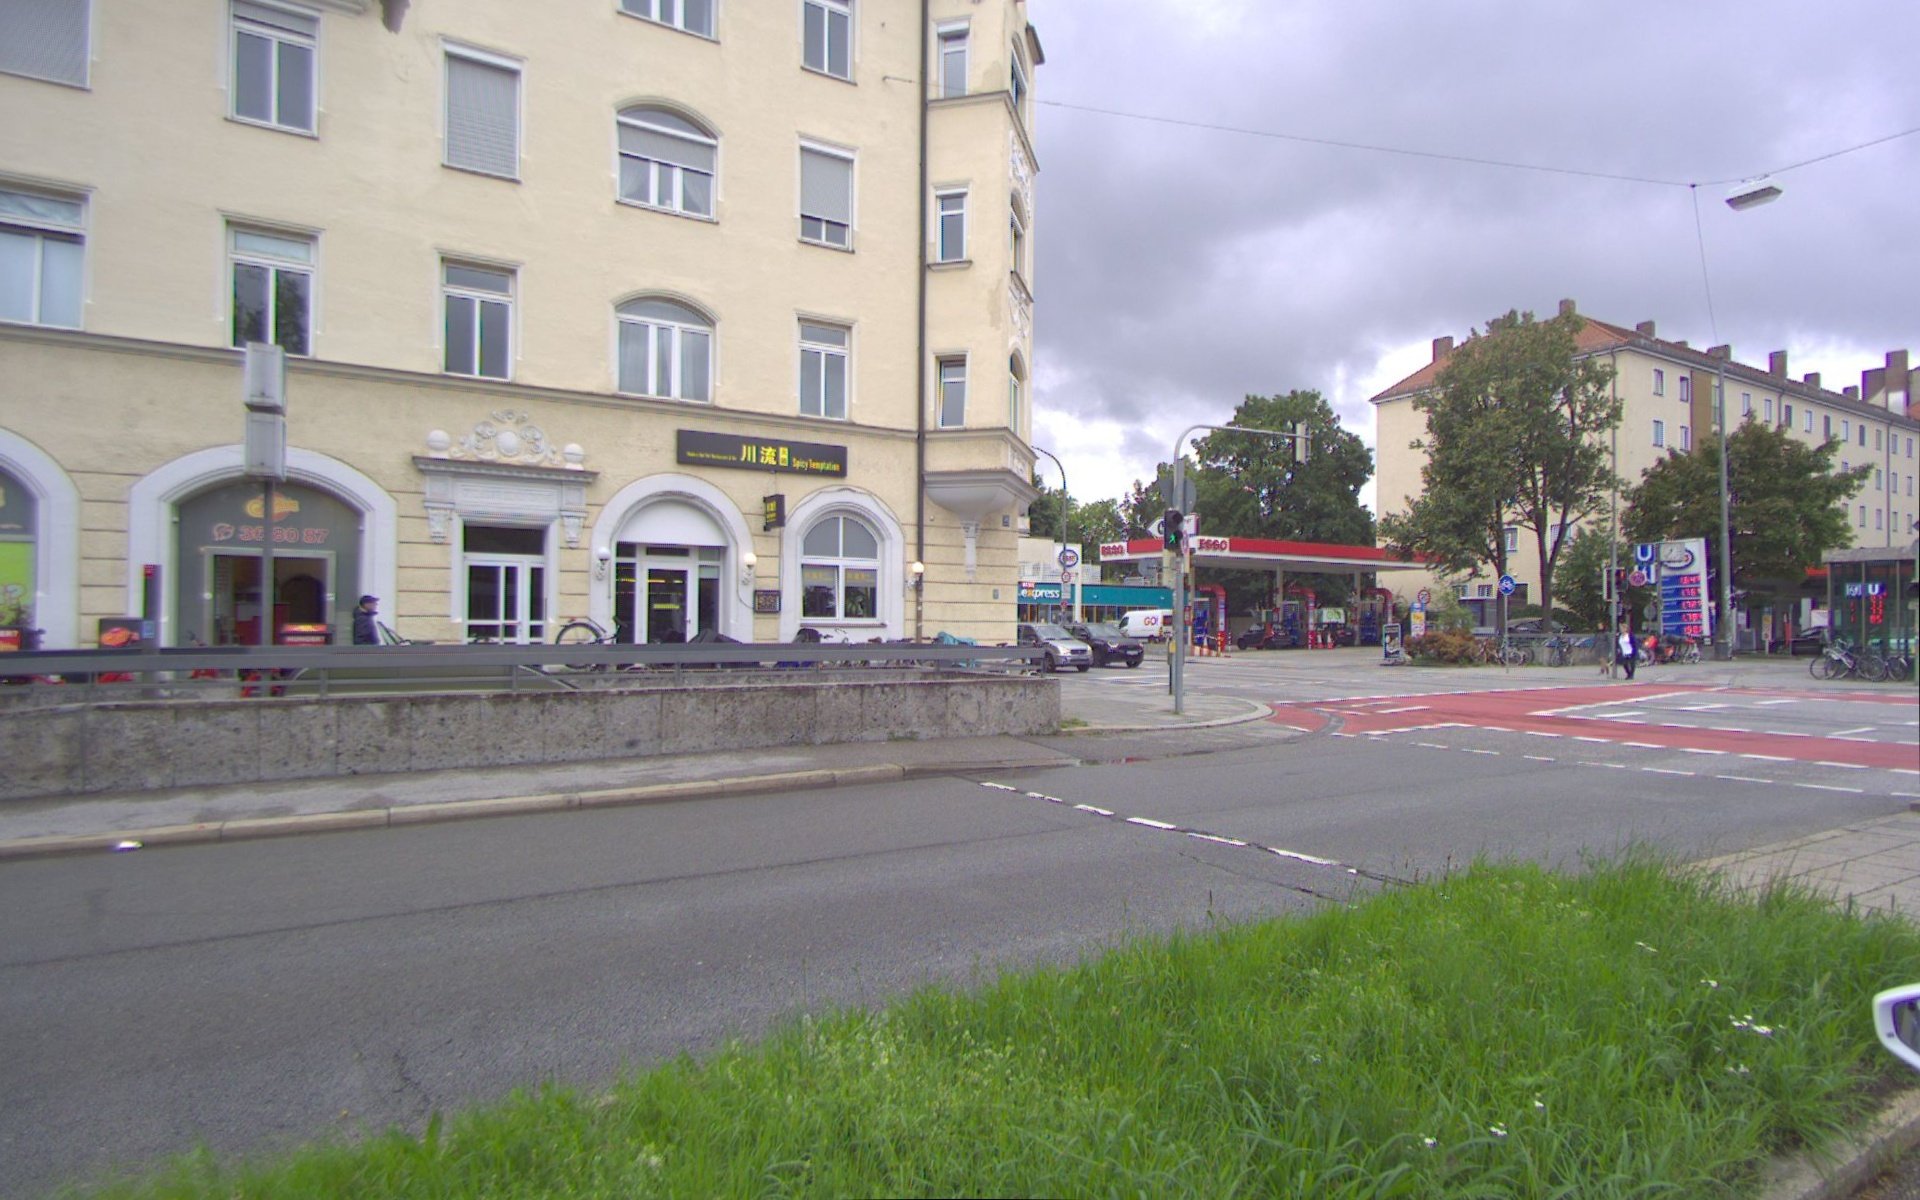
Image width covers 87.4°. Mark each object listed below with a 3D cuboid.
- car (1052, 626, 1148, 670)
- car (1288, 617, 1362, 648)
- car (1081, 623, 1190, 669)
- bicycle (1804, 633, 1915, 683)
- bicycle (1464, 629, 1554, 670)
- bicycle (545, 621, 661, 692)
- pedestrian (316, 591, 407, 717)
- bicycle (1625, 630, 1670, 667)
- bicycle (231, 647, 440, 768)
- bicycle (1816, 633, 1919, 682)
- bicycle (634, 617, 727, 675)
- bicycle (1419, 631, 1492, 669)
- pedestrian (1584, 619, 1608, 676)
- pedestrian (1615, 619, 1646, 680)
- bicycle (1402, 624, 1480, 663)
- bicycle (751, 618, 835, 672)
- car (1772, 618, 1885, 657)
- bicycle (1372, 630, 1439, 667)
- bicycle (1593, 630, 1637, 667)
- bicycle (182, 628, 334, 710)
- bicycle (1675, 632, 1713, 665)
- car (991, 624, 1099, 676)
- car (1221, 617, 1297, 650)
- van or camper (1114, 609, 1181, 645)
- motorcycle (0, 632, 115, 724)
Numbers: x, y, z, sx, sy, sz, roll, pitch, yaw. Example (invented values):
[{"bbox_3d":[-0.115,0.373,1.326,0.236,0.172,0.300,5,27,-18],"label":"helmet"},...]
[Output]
[{"bbox_3d":[4.845,1.647,35.177,1.643,1.430,3.534,1,-1,-27],"label":"car"},{"bbox_3d":[22.065,1.932,60.852,1.836,1.808,3.968,1,-1,-30],"label":"car"},{"bbox_3d":[6.967,1.797,40.419,1.763,1.668,4.745,1,-1,-29],"label":"car"},{"bbox_3d":[25.513,1.616,28.539,0.695,1.322,2.262,1,-1,-28],"label":"bicycle"},{"bbox_3d":[18.768,1.674,34.383,2.664,1.267,0.792,2,0,30],"label":"bicycle"},{"bbox_3d":[-5.152,0.799,14.537,1.527,0.993,0.470,1,-1,-30],"label":"bicycle"},{"bbox_3d":[-8.501,0.744,14.289,0.583,1.719,0.943,0,-1,32],"label":"pedestrian"},{"bbox_3d":[23.762,1.663,34.708,2.166,1.252,0.603,1,-1,-37],"label":"bicycle"},{"bbox_3d":[-6.443,1.073,10.435,1.798,1.130,0.392,1,-1,-39],"label":"bicycle"},{"bbox_3d":[26.187,1.623,28.912,0.685,1.322,2.275,1,-1,-28],"label":"bicycle"},{"bbox_3d":[-4.967,0.802,17.876,1.527,0.993,0.470,1,-1,-30],"label":"bicycle"},{"bbox_3d":[17.230,1.709,34.951,0.760,1.252,2.161,1,-1,-41],"label":"bicycle"},{"bbox_3d":[19.472,1.449,30.768,0.581,1.717,0.576,0,-1,29],"label":"pedestrian"},{"bbox_3d":[19.162,1.403,28.722,0.569,1.717,0.532,1,-1,-27],"label":"pedestrian"},{"bbox_3d":[17.287,1.541,36.150,0.785,1.267,2.374,1,0,-40],"label":"bicycle"},{"bbox_3d":[-3.212,0.856,19.338,1.527,0.993,0.470,1,-1,-30],"label":"bicycle"},{"bbox_3d":[43.759,1.875,50.696,1.860,1.862,3.965,1,-1,-32],"label":"car"},{"bbox_3d":[16.215,1.747,36.593,0.759,1.252,2.163,1,-1,-39],"label":"bicycle"},{"bbox_3d":[22.740,1.655,34.863,2.166,1.252,0.603,1,-1,-37],"label":"bicycle"},{"bbox_3d":[-8.900,0.856,12.797,1.527,0.993,0.470,1,-1,-30],"label":"bicycle"},{"bbox_3d":[27.115,1.770,37.105,1.947,1.160,0.603,1,-1,-37],"label":"bicycle"},{"bbox_3d":[2.691,1.557,32.386,1.646,1.537,3.599,1,-1,-32],"label":"car"},{"bbox_3d":[16.832,1.864,56.707,1.836,1.808,3.968,1,-1,-30],"label":"car"},{"bbox_3d":[12.832,1.832,68.901,1.899,2.354,4.508,1,-1,-34],"label":"van or camper"},{"bbox_3d":[-12.478,1.021,13.477,1.946,1.137,0.610,1,-1,10],"label":"motorcycle"}]
